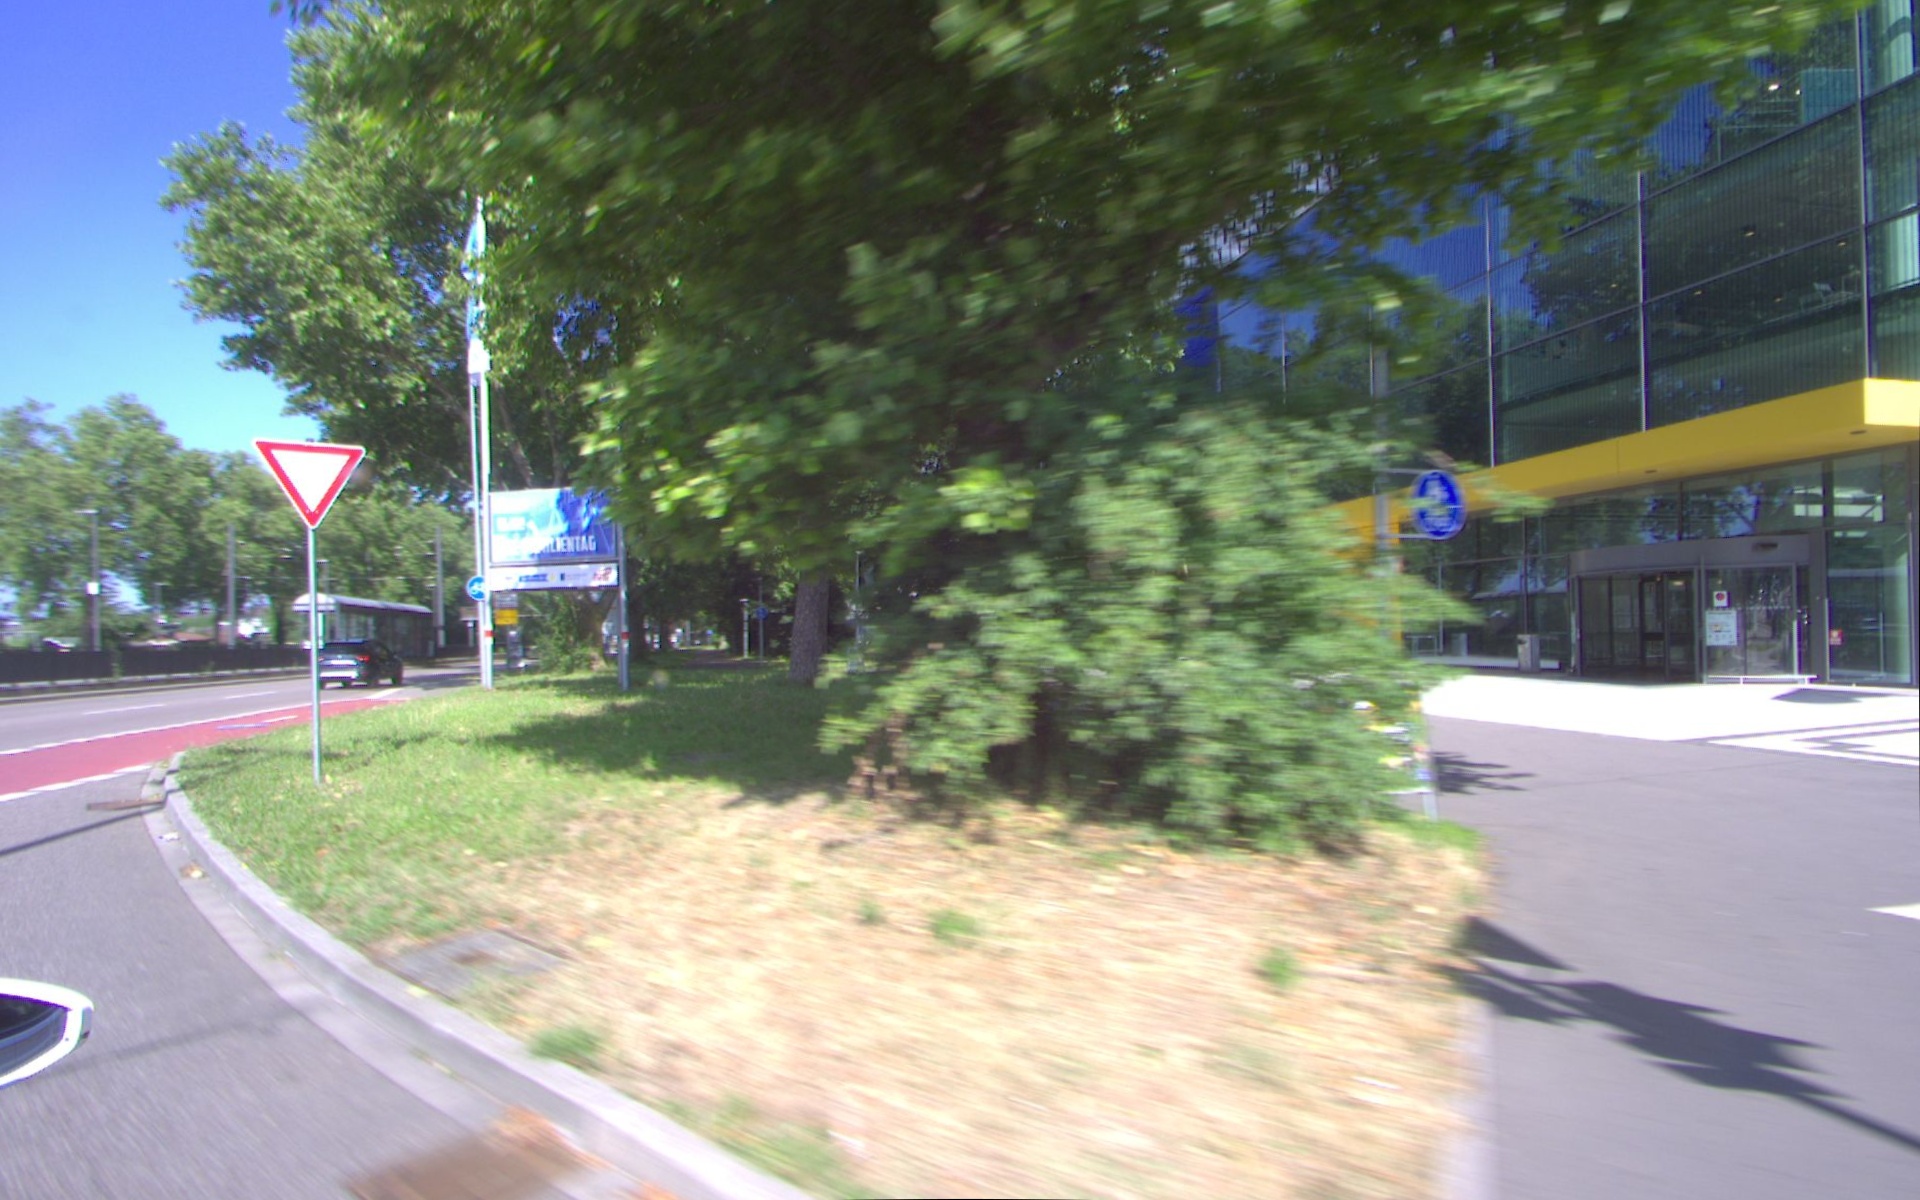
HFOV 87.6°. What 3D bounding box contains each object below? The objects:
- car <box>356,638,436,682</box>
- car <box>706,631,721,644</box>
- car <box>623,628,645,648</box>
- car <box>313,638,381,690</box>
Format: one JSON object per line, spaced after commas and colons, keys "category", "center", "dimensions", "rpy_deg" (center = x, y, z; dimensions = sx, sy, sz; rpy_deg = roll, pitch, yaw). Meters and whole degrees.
{"category": "car", "center": [-24.018, 2.525, 42.779], "dimensions": [1.898, 1.734, 4.157], "rpy_deg": [-2, -2, -14]}
{"category": "car", "center": [-41.079, 6.294, 166.918], "dimensions": [1.962, 2.039, 4.000], "rpy_deg": [-2, -2, -10]}
{"category": "car", "center": [-34.246, 4.023, 105.196], "dimensions": [1.964, 2.039, 3.996], "rpy_deg": [-2, -2, -16]}
{"category": "car", "center": [-19.316, 2.015, 31.658], "dimensions": [1.651, 1.542, 3.363], "rpy_deg": [1, -3, -29]}
